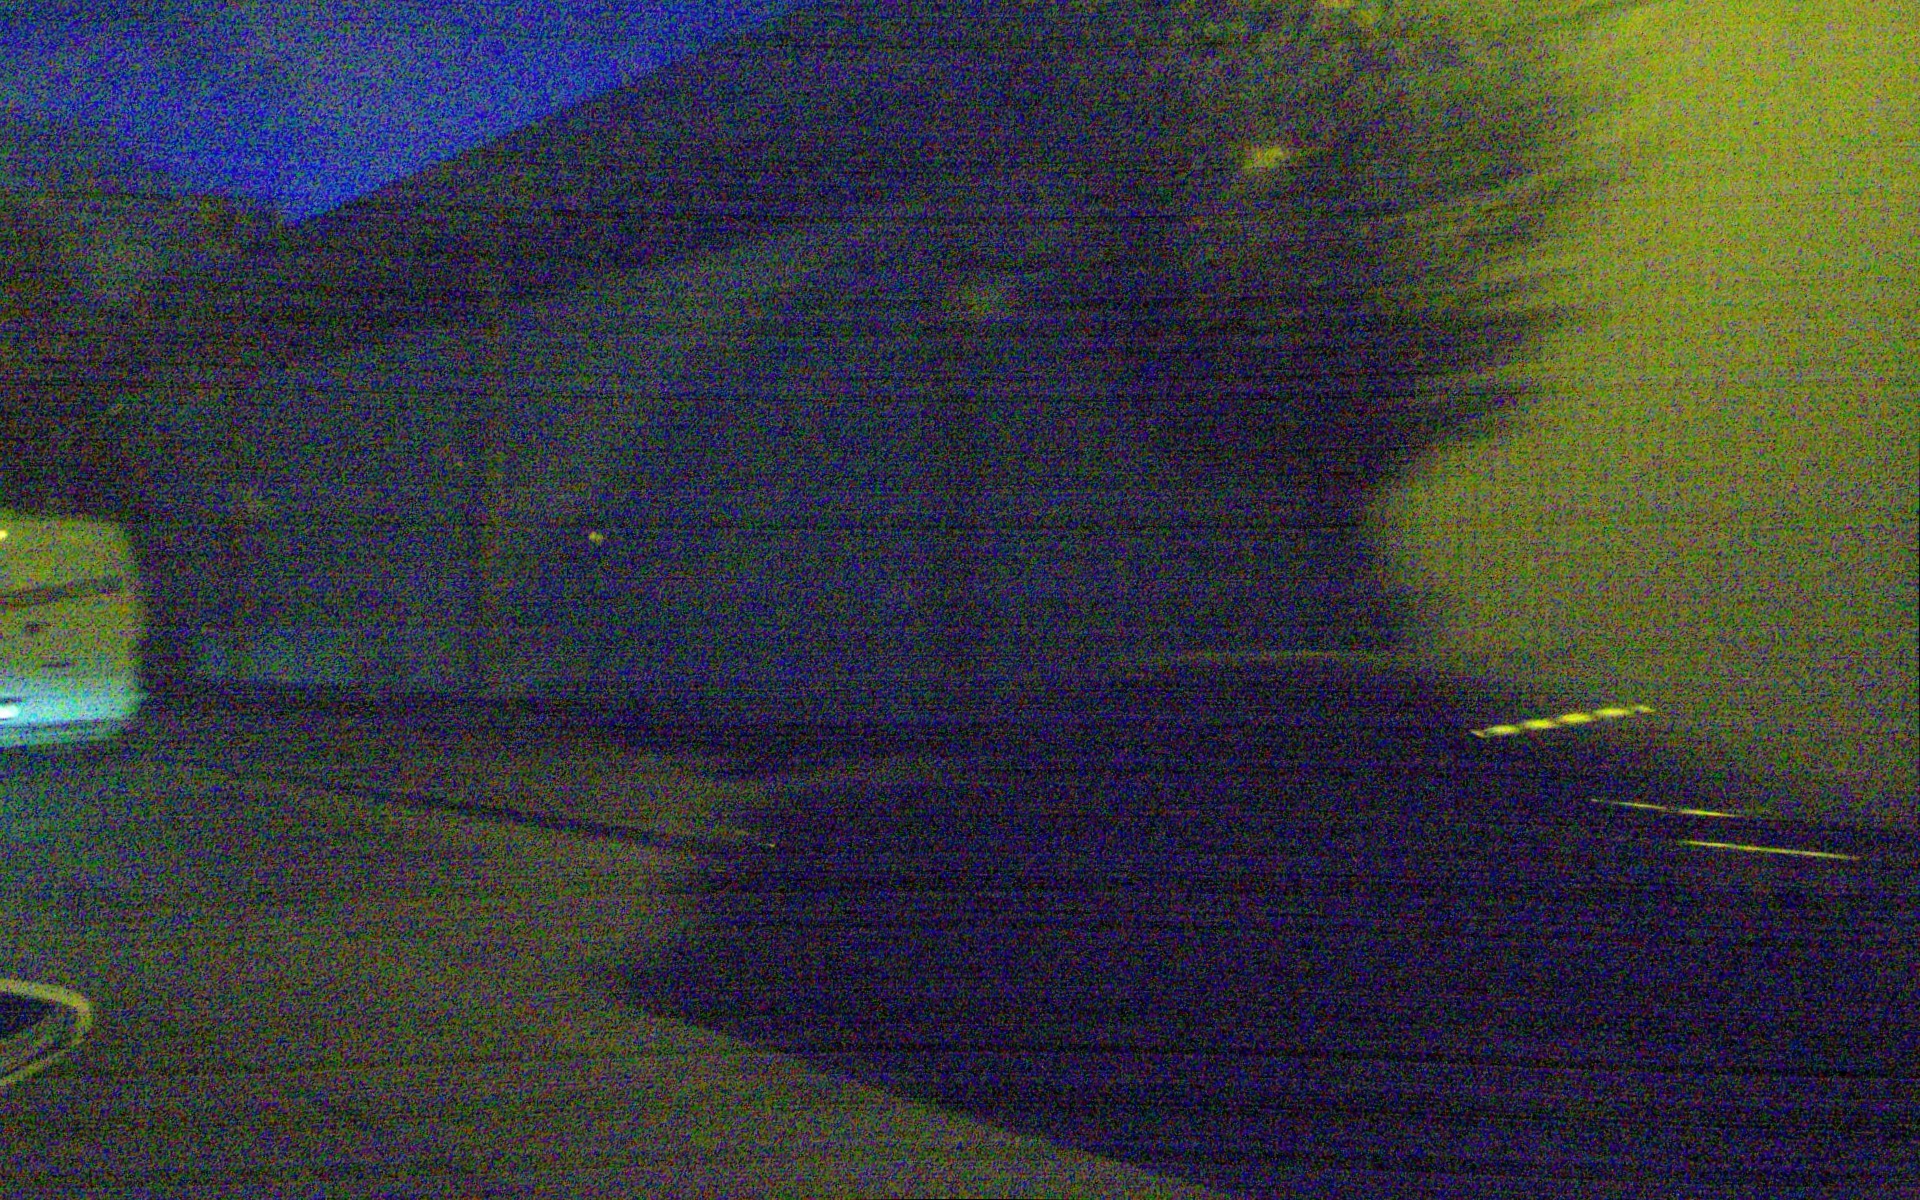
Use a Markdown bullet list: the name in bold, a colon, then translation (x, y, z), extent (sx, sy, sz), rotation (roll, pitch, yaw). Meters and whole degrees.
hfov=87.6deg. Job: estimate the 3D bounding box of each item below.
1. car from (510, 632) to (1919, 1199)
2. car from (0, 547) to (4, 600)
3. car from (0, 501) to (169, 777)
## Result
- **car**: translation (0.571, 0.886, 3.873), extent (4.838, 1.424, 1.828), rotation (-1, -4, 32)
- **car**: translation (-16.969, 0.487, 15.014), extent (5.820, 2.602, 2.128), rotation (0, -4, 30)
- **car**: translation (-11.429, 0.424, 11.298), extent (5.928, 2.602, 1.991), rotation (-1, -4, 32)
